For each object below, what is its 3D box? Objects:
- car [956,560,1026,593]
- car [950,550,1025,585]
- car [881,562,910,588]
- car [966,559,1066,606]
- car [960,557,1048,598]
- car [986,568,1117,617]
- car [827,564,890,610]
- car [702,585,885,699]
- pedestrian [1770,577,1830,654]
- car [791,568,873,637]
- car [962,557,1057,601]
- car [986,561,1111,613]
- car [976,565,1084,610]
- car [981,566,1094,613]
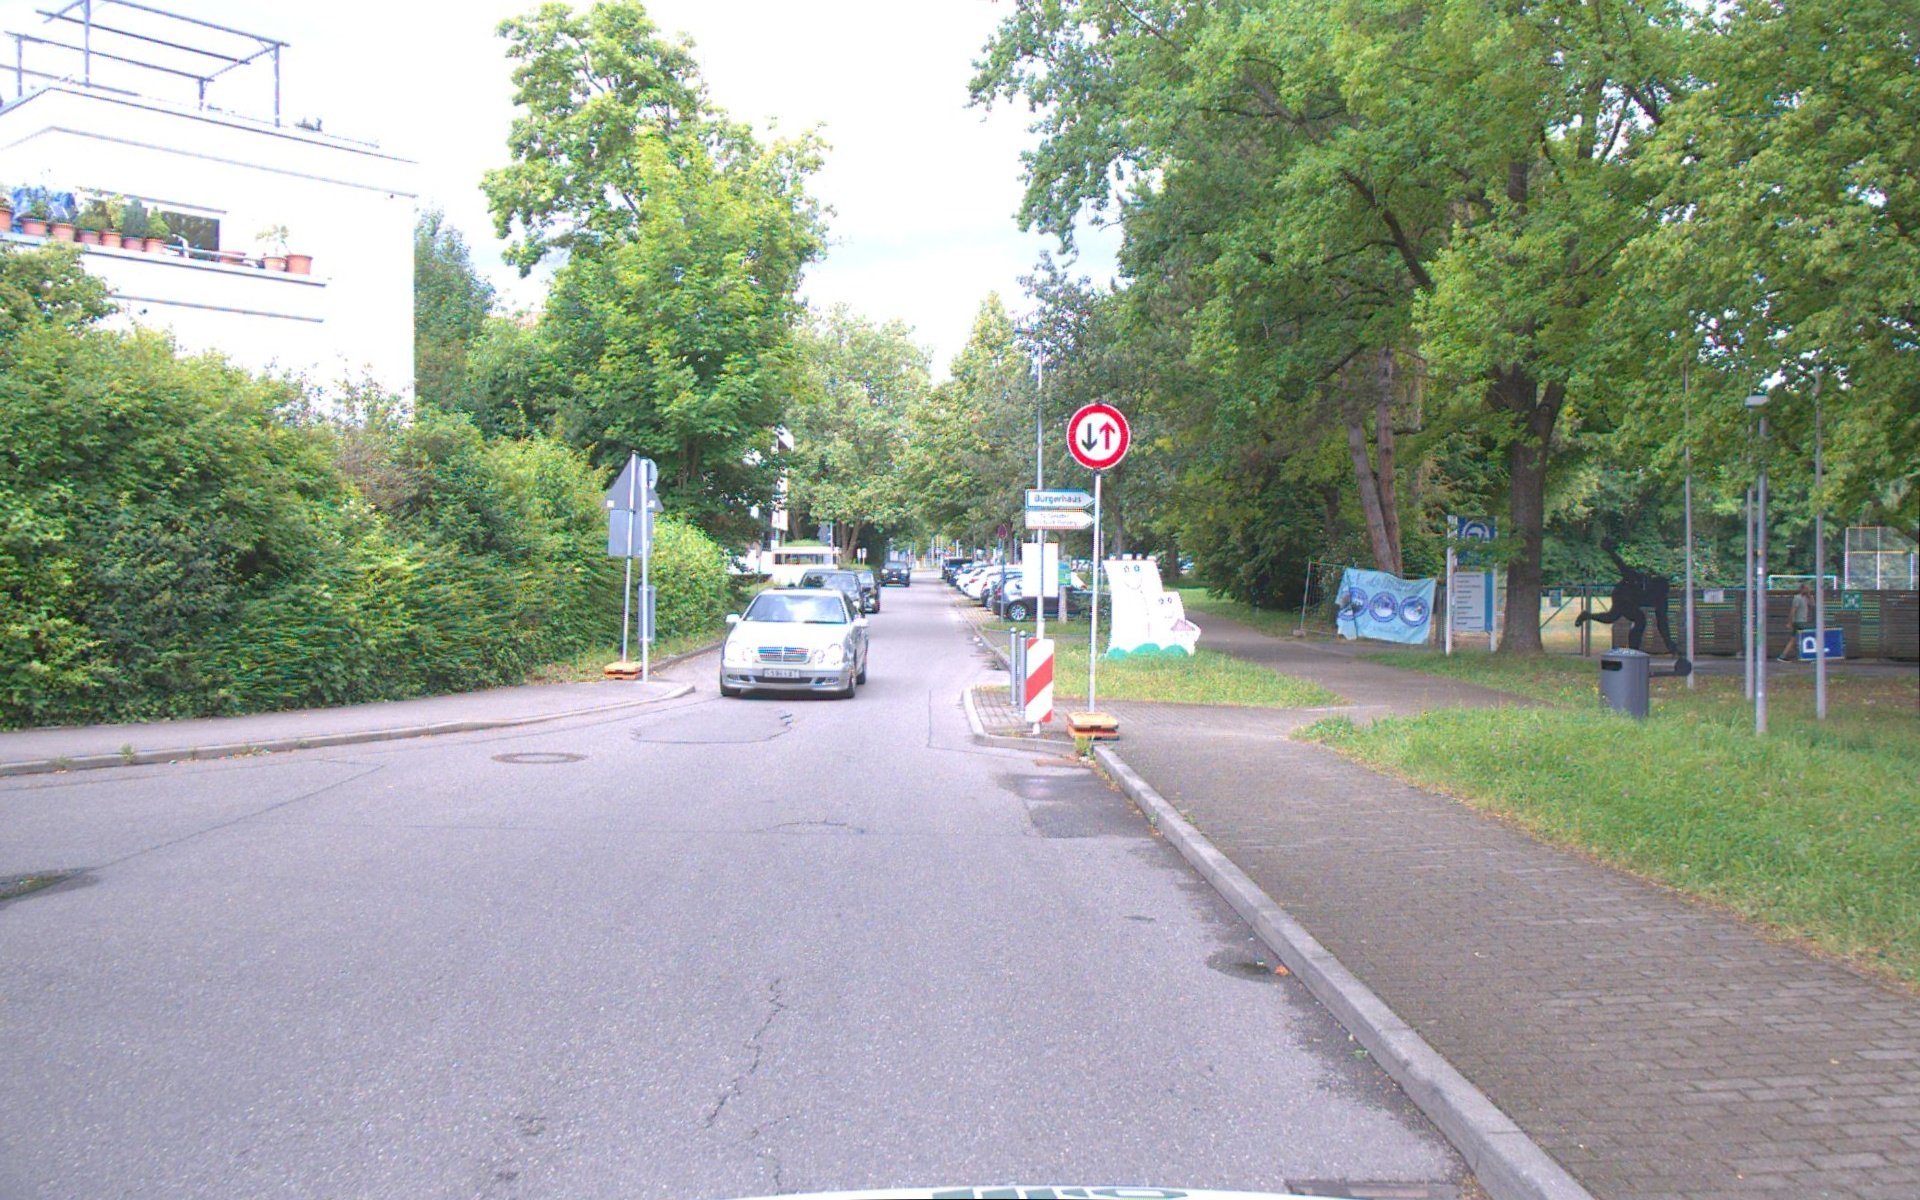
[{"bbox_3d":[1.850,-1.403,99.713,3.984,1.716,1.821,-3,1,-5],"label":"car"},{"bbox_3d":[1.549,-1.822,93.726,3.984,1.716,1.821,-3,1,-5],"label":"car"},{"bbox_3d":[-4.481,-1.771,115.267,1.929,1.778,4.337,1,1,-2],"label":"car"},{"bbox_3d":[2.369,-0.745,70.402,3.984,1.716,1.821,-3,1,-5],"label":"car"},{"bbox_3d":[2.106,-1.096,79.820,3.984,1.716,1.821,-3,1,-5],"label":"car"},{"bbox_3d":[2.867,-0.226,52.635,3.981,1.459,1.999,-1,-1,-2],"label":"car"},{"bbox_3d":[-3.756,-0.506,61.839,1.765,1.619,4.299,1,1,5],"label":"car"},{"bbox_3d":[-2.106,0.485,22.084,1.744,1.329,4.298,1,1,3],"label":"car"},{"bbox_3d":[18.895,0.356,37.232,1.124,1.704,0.793,-1,-1,24],"label":"pedestrian"},{"bbox_3d":[-3.146,0.020,41.436,1.766,1.619,4.295,1,1,-1],"label":"car"},{"bbox_3d":[2.204,-0.939,74.260,3.984,1.716,1.821,-3,1,-5],"label":"car"},{"bbox_3d":[2.912,-0.414,54.920,3.981,1.596,1.821,-1,-1,-2],"label":"car"},{"bbox_3d":[2.732,-0.513,64.949,3.984,1.514,1.821,-3,1,-5],"label":"car"},{"bbox_3d":[2.790,-0.411,60.145,3.981,1.595,1.822,-1,1,-2],"label":"car"}]
